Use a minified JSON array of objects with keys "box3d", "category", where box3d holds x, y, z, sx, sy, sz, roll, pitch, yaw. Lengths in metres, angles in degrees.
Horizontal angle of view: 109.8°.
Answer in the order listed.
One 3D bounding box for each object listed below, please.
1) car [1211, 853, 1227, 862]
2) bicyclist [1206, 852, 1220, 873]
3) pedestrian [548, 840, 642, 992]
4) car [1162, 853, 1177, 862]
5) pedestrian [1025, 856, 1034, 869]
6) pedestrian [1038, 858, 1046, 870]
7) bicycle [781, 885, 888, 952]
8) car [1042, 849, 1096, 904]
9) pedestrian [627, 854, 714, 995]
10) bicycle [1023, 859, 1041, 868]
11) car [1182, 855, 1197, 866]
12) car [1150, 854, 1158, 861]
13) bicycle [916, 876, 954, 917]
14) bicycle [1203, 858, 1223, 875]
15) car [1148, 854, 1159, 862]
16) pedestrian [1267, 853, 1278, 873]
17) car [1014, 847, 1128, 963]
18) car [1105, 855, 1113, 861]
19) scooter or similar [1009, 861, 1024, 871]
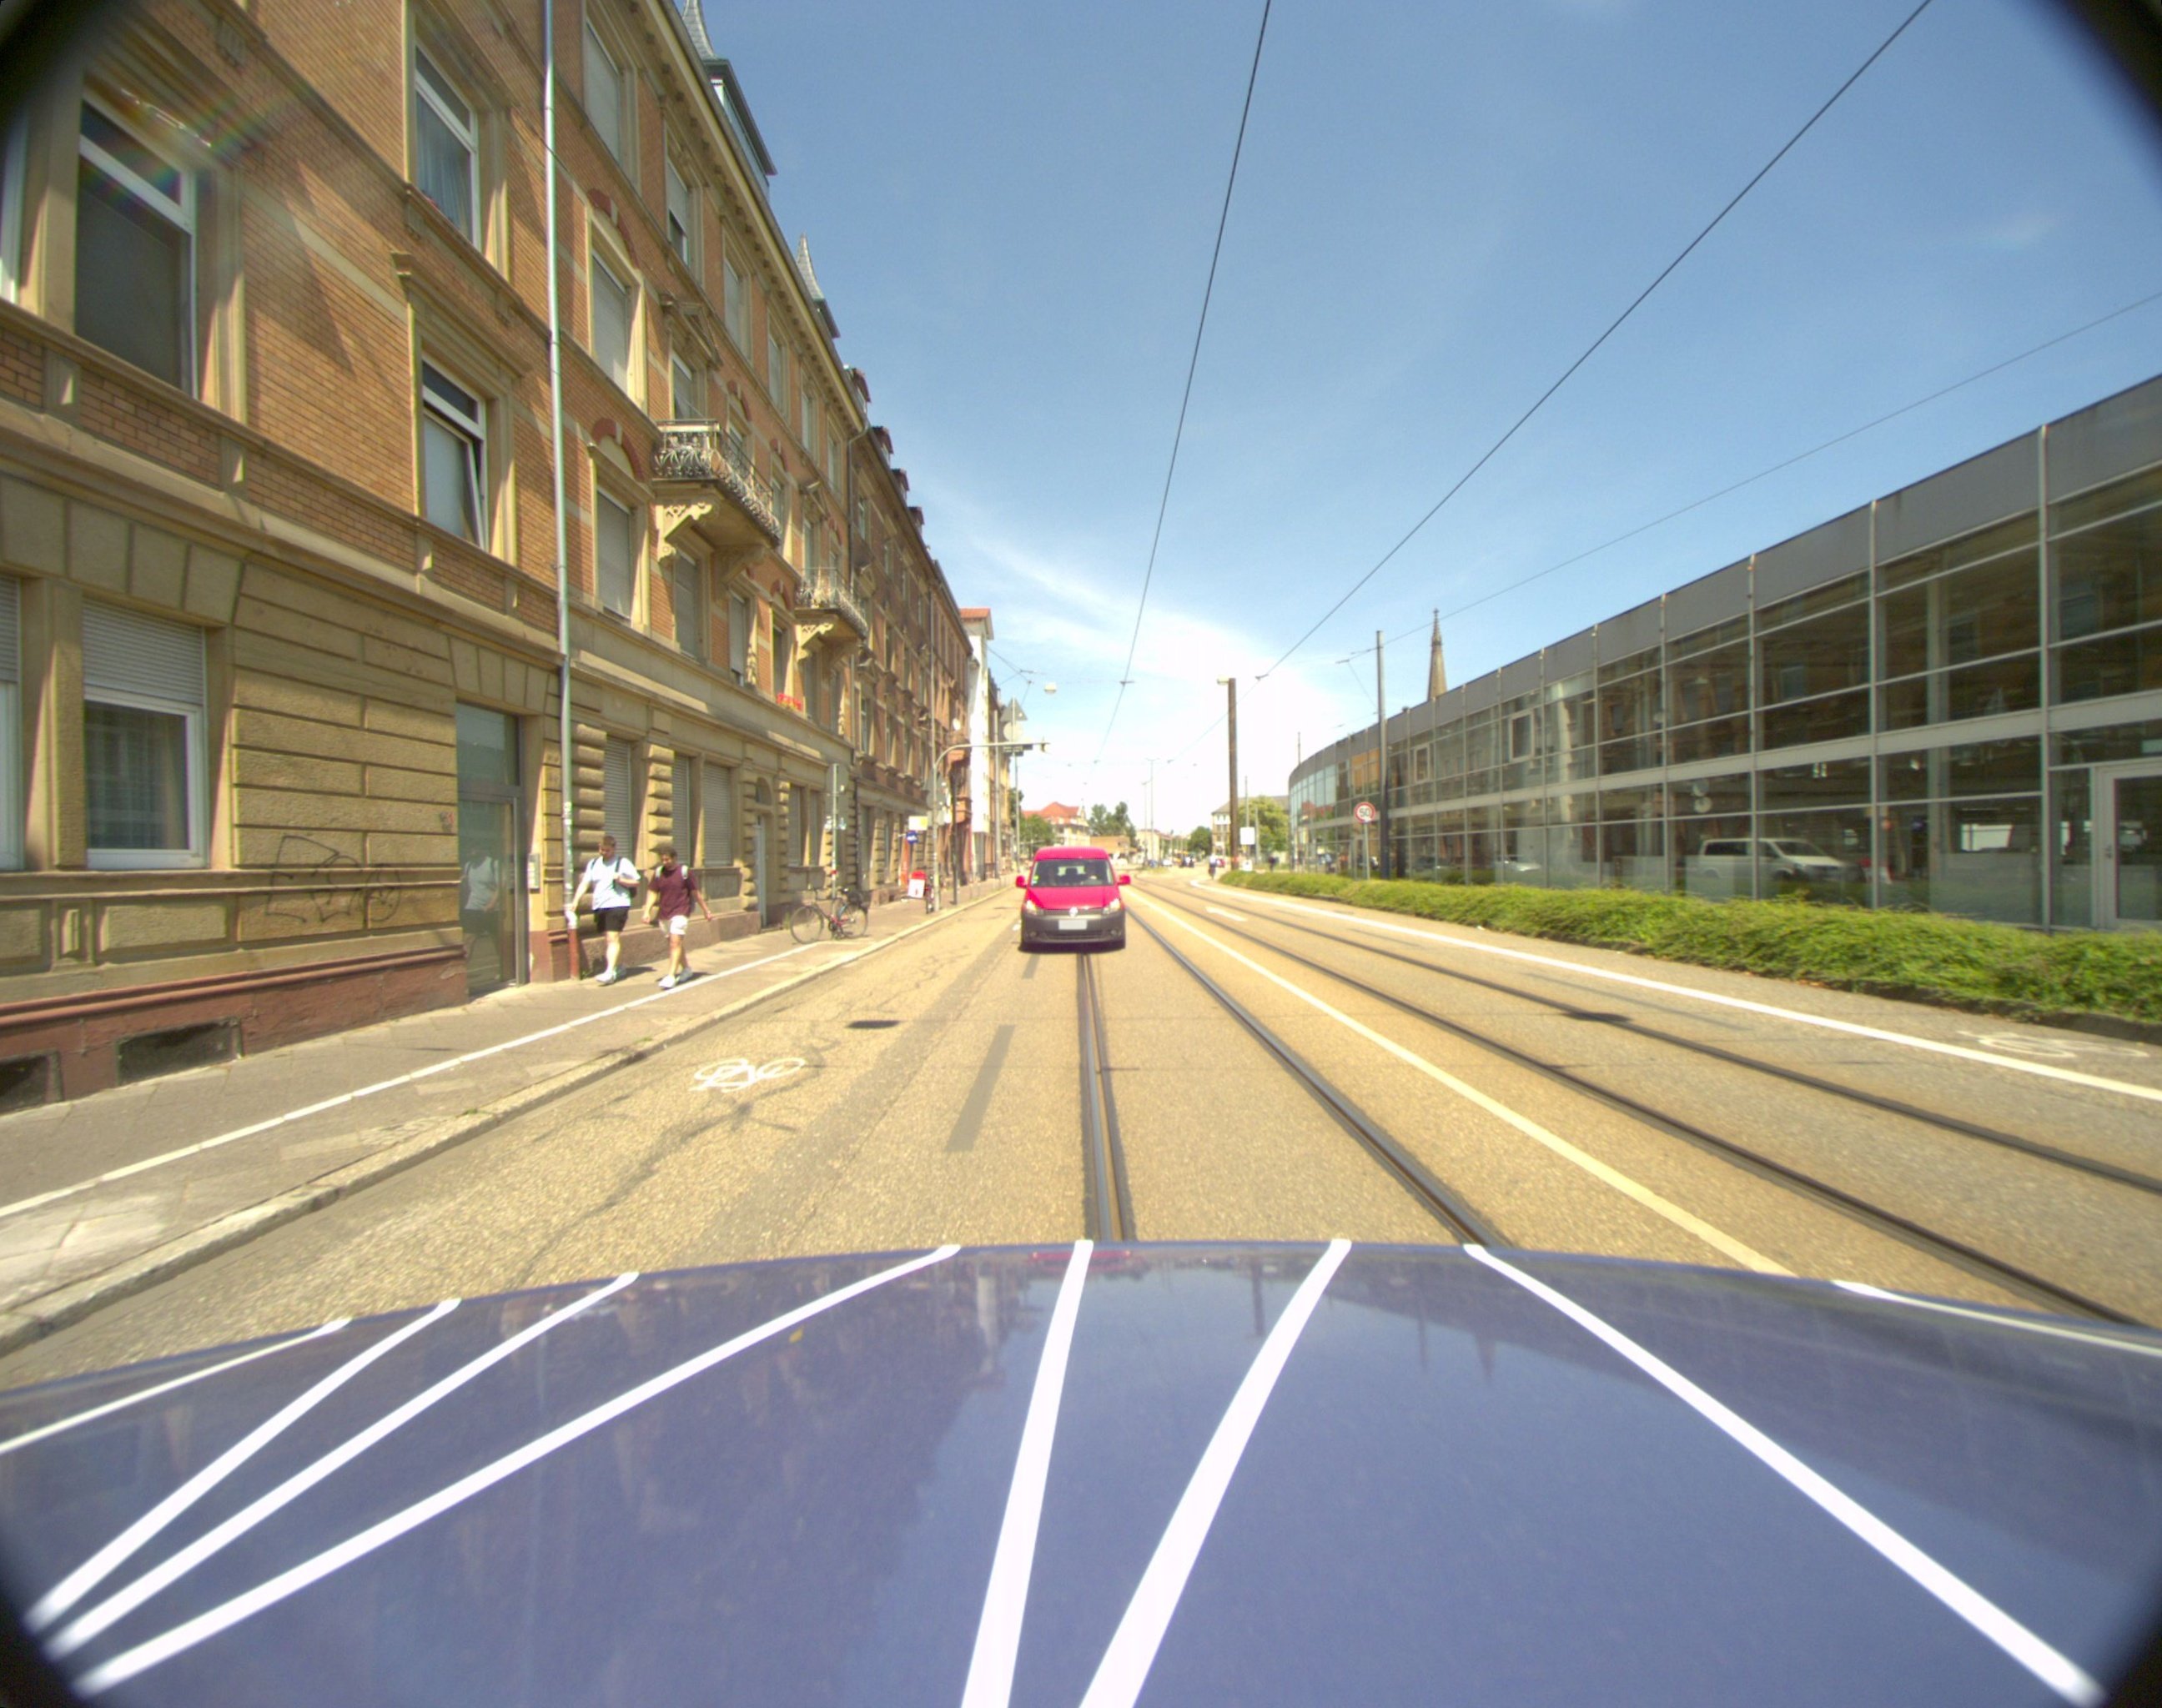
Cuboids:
[{"box3d":[21.389,0.547,118.044,1.762,1.359,4.289,-1,0,1],"category":"car"},{"box3d":[9.489,0.605,54.566,0.698,1.539,0.982,0,0,27],"category":"bicyclist"},{"box3d":[-6.178,0.768,9.682,0.704,1.838,0.643,3,0,1],"category":"pedestrian"},{"box3d":[15.933,0.635,137.236,1.998,1.521,5.131,1,0,0],"category":"car"},{"box3d":[-7.086,1.143,104.393,0.826,1.765,0.812,-2,2,-44],"category":"pedestrian"},{"box3d":[-5.627,1.449,109.209,0.808,1.769,0.876,-1,0,32],"category":"pedestrian"},{"box3d":[-4.726,1.202,14.763,0.499,1.124,2.247,0,0,28],"category":"bicycle"},{"box3d":[-0.491,0.800,29.142,1.874,1.954,3.823,-1,0,-2],"category":"car"},{"box3d":[-5.148,0.864,9.563,0.722,1.710,0.643,0,0,1],"category":"pedestrian"},{"box3d":[-6.755,1.334,104.755,2.225,1.243,1.096,-1,0,-44],"category":"bicycle"},{"box3d":[16.403,0.932,115.217,1.826,1.617,4.526,0,0,3],"category":"car"},{"box3d":[16.697,0.882,174.291,1.552,1.527,3.679,-1,0,-1],"category":"car"},{"box3d":[-4.324,1.223,22.603,0.448,1.090,2.424,0,0,5],"category":"bicycle"},{"box3d":[9.480,0.894,54.427,0.698,1.138,2.500,0,0,27],"category":"bicycle"},{"box3d":[14.112,0.758,147.941,1.675,1.453,3.903,0,0,0],"category":"car"},{"box3d":[15.777,0.701,62.691,0.729,1.632,0.820,-1,0,3],"category":"pedestrian"},{"box3d":[-0.092,0.810,13.983,1.755,1.802,4.098,-1,0,2],"category":"car"},{"box3d":[6.130,0.899,167.261,1.848,1.471,4.331,0,-1,1],"category":"car"},{"box3d":[-7.550,1.371,89.256,1.527,1.148,0.713,-1,0,-29],"category":"scooter or similar"}]
